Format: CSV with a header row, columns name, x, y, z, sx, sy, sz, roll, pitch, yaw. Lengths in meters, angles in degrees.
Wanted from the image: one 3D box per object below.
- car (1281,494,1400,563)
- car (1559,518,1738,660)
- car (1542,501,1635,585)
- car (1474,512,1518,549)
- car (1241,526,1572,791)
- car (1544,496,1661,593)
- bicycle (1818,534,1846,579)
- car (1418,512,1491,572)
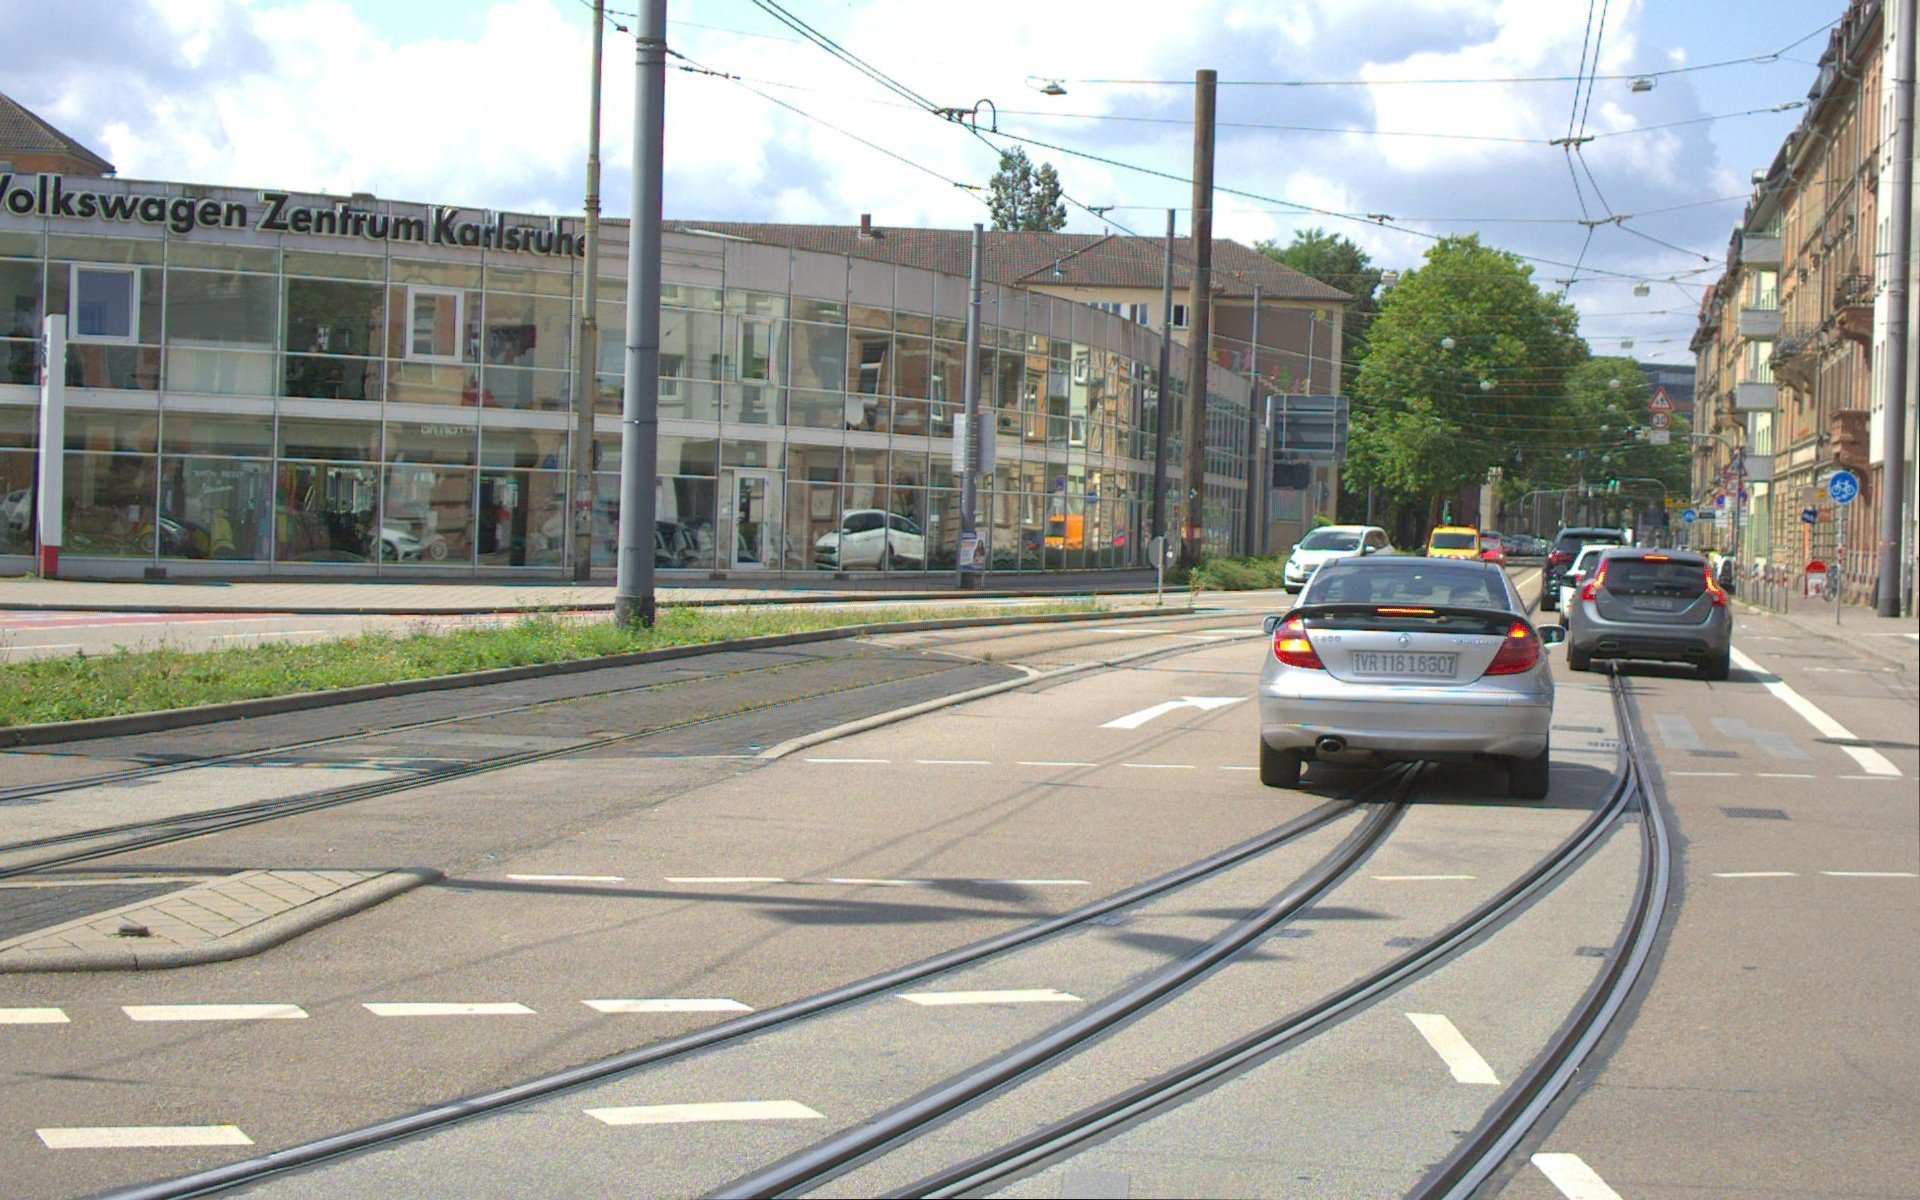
name,x,y,z,sx,sy,sz,roll,pitch,yaw
car,9.150,-1.696,82.379,1.768,1.598,4.488,1,1,20
car,8.037,-0.172,40.414,1.815,1.519,4.084,2,2,8
car,13.153,-1.183,71.961,1.815,1.656,4.083,2,1,10
car,22.377,-2.896,143.550,1.702,1.423,3.901,2,1,8
car,2.824,0.282,21.494,1.815,1.415,4.186,2,2,8
car,10.712,-0.959,57.392,1.815,1.519,3.954,2,2,10
bicycle,23.862,-1.204,94.111,0.587,1.174,2.204,2,2,11
car,15.769,-1.839,109.515,1.912,1.859,4.365,1,1,13
